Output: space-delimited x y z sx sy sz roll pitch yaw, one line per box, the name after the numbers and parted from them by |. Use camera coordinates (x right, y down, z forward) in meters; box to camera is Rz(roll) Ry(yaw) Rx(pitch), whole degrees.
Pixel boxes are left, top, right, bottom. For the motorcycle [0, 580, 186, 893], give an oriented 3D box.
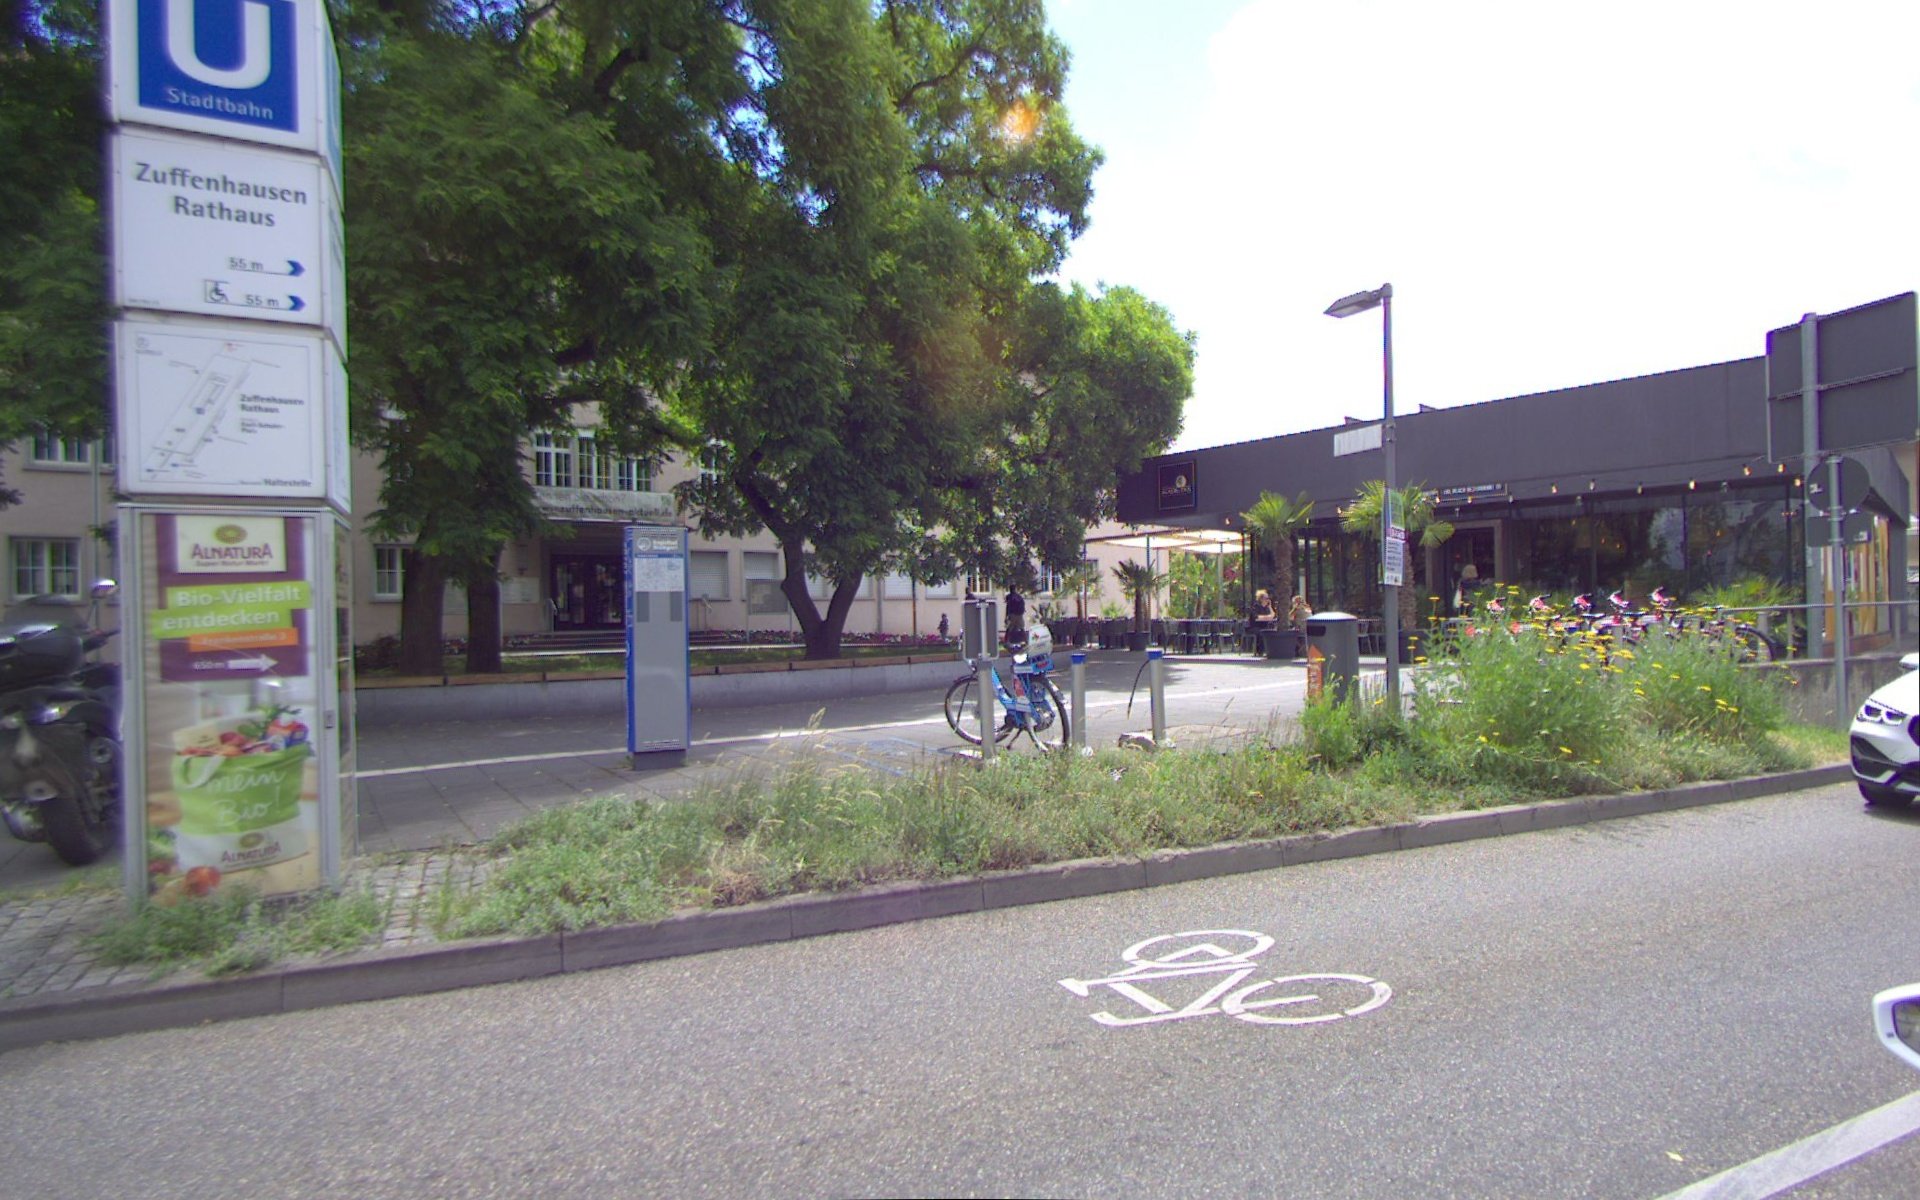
-5.010 0.678 5.704 0.640 1.468 2.179 2 -3 -30 | motorcycle

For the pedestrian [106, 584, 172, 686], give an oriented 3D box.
-15.422 0.641 18.885 0.819 1.875 0.657 -1 0 -29 | pedestrian

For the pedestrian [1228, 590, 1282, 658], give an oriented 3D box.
6.232 0.503 21.241 0.787 1.397 0.790 2 -1 -42 | pedestrian

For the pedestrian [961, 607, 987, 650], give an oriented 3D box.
0.441 0.925 32.370 0.586 1.356 0.639 2 -1 -29 | pedestrian

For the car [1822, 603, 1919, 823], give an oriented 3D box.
8.966 0.848 8.055 4.114 1.606 1.815 1 -1 -29 | car

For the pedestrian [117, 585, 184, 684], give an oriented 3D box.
-15.713 0.650 19.517 0.867 1.875 0.657 -1 0 -29 | pedestrian

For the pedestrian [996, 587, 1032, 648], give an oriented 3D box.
1.433 0.464 26.604 0.636 1.585 0.731 2 -1 -30 | pedestrian

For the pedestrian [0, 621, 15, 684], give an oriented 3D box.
-19.568 1.062 20.197 0.684 1.242 0.809 -1 0 -34 | pedestrian

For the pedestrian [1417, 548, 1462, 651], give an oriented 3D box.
9.831 -0.001 20.575 0.625 2.079 0.664 1 -1 45 | pedestrian

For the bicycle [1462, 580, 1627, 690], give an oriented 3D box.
6.489 0.384 11.229 0.527 1.142 1.540 0 -2 -28 | bicycle

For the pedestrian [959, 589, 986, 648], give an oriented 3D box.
0.396 0.577 31.581 0.586 1.832 0.639 2 -1 -29 | pedestrian

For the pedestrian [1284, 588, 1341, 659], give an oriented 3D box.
7.126 0.466 20.312 0.787 1.397 0.790 2 -1 -42 | pedestrian

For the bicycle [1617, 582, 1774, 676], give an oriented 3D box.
9.434 0.378 12.945 0.527 1.142 1.540 0 -2 -28 | bicycle

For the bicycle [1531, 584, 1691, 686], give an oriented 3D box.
7.776 0.413 12.069 0.527 1.142 1.540 0 -2 -28 | bicycle

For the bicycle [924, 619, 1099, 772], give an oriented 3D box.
0.371 0.723 8.166 0.509 1.096 1.676 -2 -1 -33 | bicycle

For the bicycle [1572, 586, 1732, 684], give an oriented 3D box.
8.524 0.429 12.439 0.527 1.142 1.540 0 -2 -28 | bicycle

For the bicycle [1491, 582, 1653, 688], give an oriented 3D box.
7.086 0.405 11.706 0.527 1.142 1.540 0 -2 -28 | bicycle
